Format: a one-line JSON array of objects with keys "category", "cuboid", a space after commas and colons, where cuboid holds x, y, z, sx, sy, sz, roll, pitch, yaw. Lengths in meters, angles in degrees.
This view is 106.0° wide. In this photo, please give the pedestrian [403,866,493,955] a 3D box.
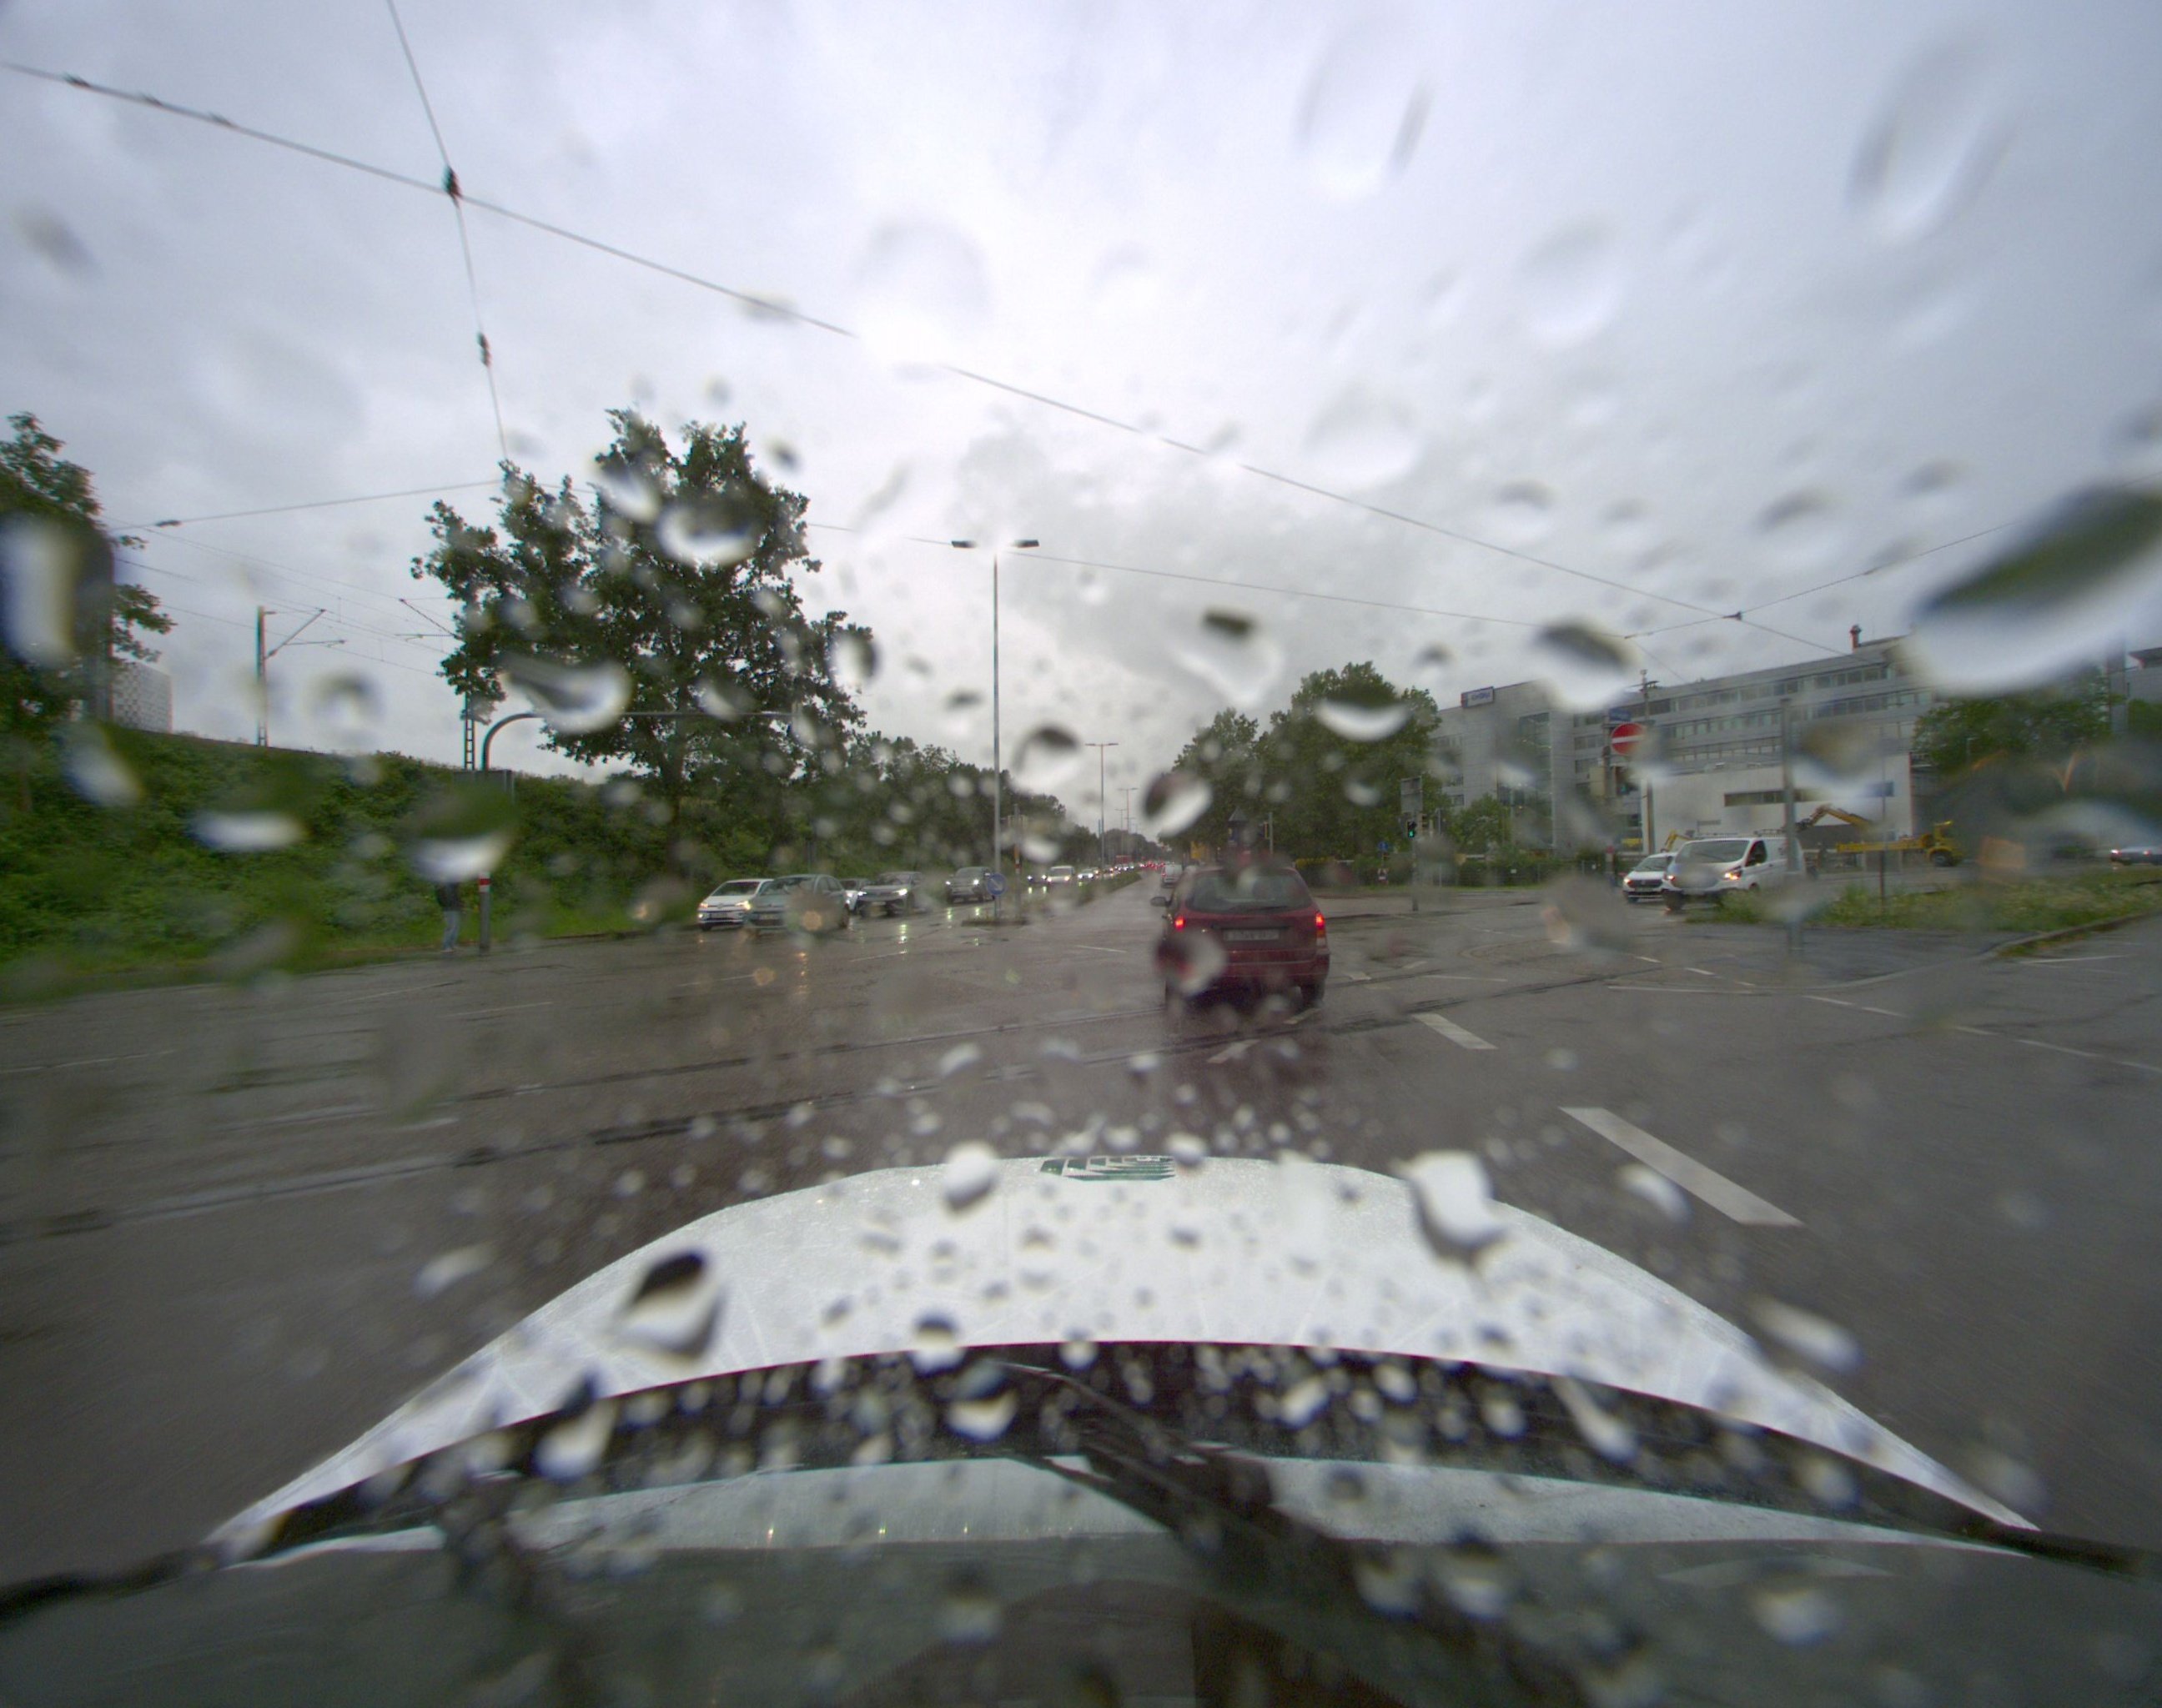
[{"category": "pedestrian", "cuboid": [-13.797, 1.209, 17.793, 1.100, 1.847, 1.128, -1, -1, -6]}]

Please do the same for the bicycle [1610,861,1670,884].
[{"category": "bicycle", "cuboid": [27.169, 0.897, 39.634, 2.285, 1.046, 0.854, -2, -2, 25]}]

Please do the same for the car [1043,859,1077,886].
[{"category": "car", "cuboid": [-1.358, 1.231, 55.026, 1.735, 1.702, 4.289, -3, -1, 5]}]

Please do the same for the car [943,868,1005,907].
[{"category": "car", "cuboid": [-5.541, 1.690, 42.839, 2.056, 1.819, 5.548, -2, -1, 5]}]

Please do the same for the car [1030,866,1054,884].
[{"category": "car", "cuboid": [-3.903, 2.129, 81.926, 1.735, 1.702, 4.289, 1, -1, 5]}]

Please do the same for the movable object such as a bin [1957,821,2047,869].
[{"category": "movable object such as a bin", "cuboid": [71.495, -0.717, 63.197, 6.340, 3.507, 3.297, -1, -1, -30]}]

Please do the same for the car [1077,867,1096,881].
[{"category": "car", "cuboid": [0.684, 2.475, 100.868, 1.954, 1.702, 4.289, -2, -1, 5]}]

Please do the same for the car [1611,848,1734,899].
[{"category": "car", "cuboid": [20.211, 0.635, 27.791, 4.396, 1.621, 1.759, -1, -1, -31]}]

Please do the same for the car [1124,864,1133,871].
[{"category": "car", "cuboid": [11.480, 3.250, 197.750, 1.953, 1.597, 4.290, -2, -1, 6]}]

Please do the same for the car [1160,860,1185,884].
[{"category": "car", "cuboid": [7.082, 1.383, 63.432, 1.728, 1.726, 4.247, 0, -1, 4]}]

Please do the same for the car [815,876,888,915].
[{"category": "car", "cuboid": [-9.334, 1.654, 33.423, 1.583, 1.404, 3.828, -2, -1, 5]}]

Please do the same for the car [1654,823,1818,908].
[{"category": "car", "cuboid": [18.046, 0.303, 22.386, 4.704, 2.125, 1.980, 0, -2, -31]}]

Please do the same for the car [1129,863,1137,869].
[{"category": "car", "cuboid": [13.871, 3.291, 217.515, 1.953, 1.597, 4.290, -2, -1, 6]}]

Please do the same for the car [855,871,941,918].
[{"category": "car", "cuboid": [-6.777, 1.481, 30.695, 1.754, 1.586, 4.819, -2, -2, 5]}]

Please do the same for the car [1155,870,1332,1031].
[{"category": "car", "cuboid": [1.709, 0.948, 9.610, 1.634, 1.465, 3.737, 1, -1, 5]}]

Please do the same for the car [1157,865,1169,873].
[{"category": "car", "cuboid": [15.875, 2.876, 158.054, 2.135, 1.528, 4.201, -1, -1, 8]}]

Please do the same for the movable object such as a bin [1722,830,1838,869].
[{"category": "movable object such as a bin", "cuboid": [58.785, -0.316, 68.657, 3.338, 2.996, 6.656, -1, -1, -30]}]

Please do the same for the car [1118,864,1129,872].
[{"category": "car", "cuboid": [9.072, 3.052, 172.788, 1.953, 1.597, 4.290, -2, -1, 6]}]

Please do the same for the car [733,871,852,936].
[{"category": "car", "cuboid": [-7.437, 1.224, 21.421, 1.632, 1.473, 3.965, -2, -1, 1]}]

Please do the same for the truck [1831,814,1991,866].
[{"category": "truck", "cuboid": [62.492, -0.976, 61.586, 3.338, 3.507, 7.814, -1, -1, -29]}]

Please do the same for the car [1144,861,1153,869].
[{"category": "car", "cuboid": [14.346, 2.386, 173.081, 1.689, 1.528, 3.853, -1, -1, 8]}]

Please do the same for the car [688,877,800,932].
[{"category": "car", "cuboid": [-10.251, 1.496, 25.057, 1.631, 1.452, 3.791, -2, -1, 4]}]

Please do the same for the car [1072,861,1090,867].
[{"category": "car", "cuboid": [0.040, 2.670, 215.485, 4.296, 1.597, 1.950, -1, -1, -30]}]

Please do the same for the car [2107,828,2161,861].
[{"category": "car", "cuboid": [69.683, -0.595, 51.894, 5.312, 2.014, 2.006, 1, -2, 12]}]

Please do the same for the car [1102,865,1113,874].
[{"category": "car", "cuboid": [5.100, 2.919, 156.073, 1.954, 1.597, 4.289, -2, -1, 5]}]
